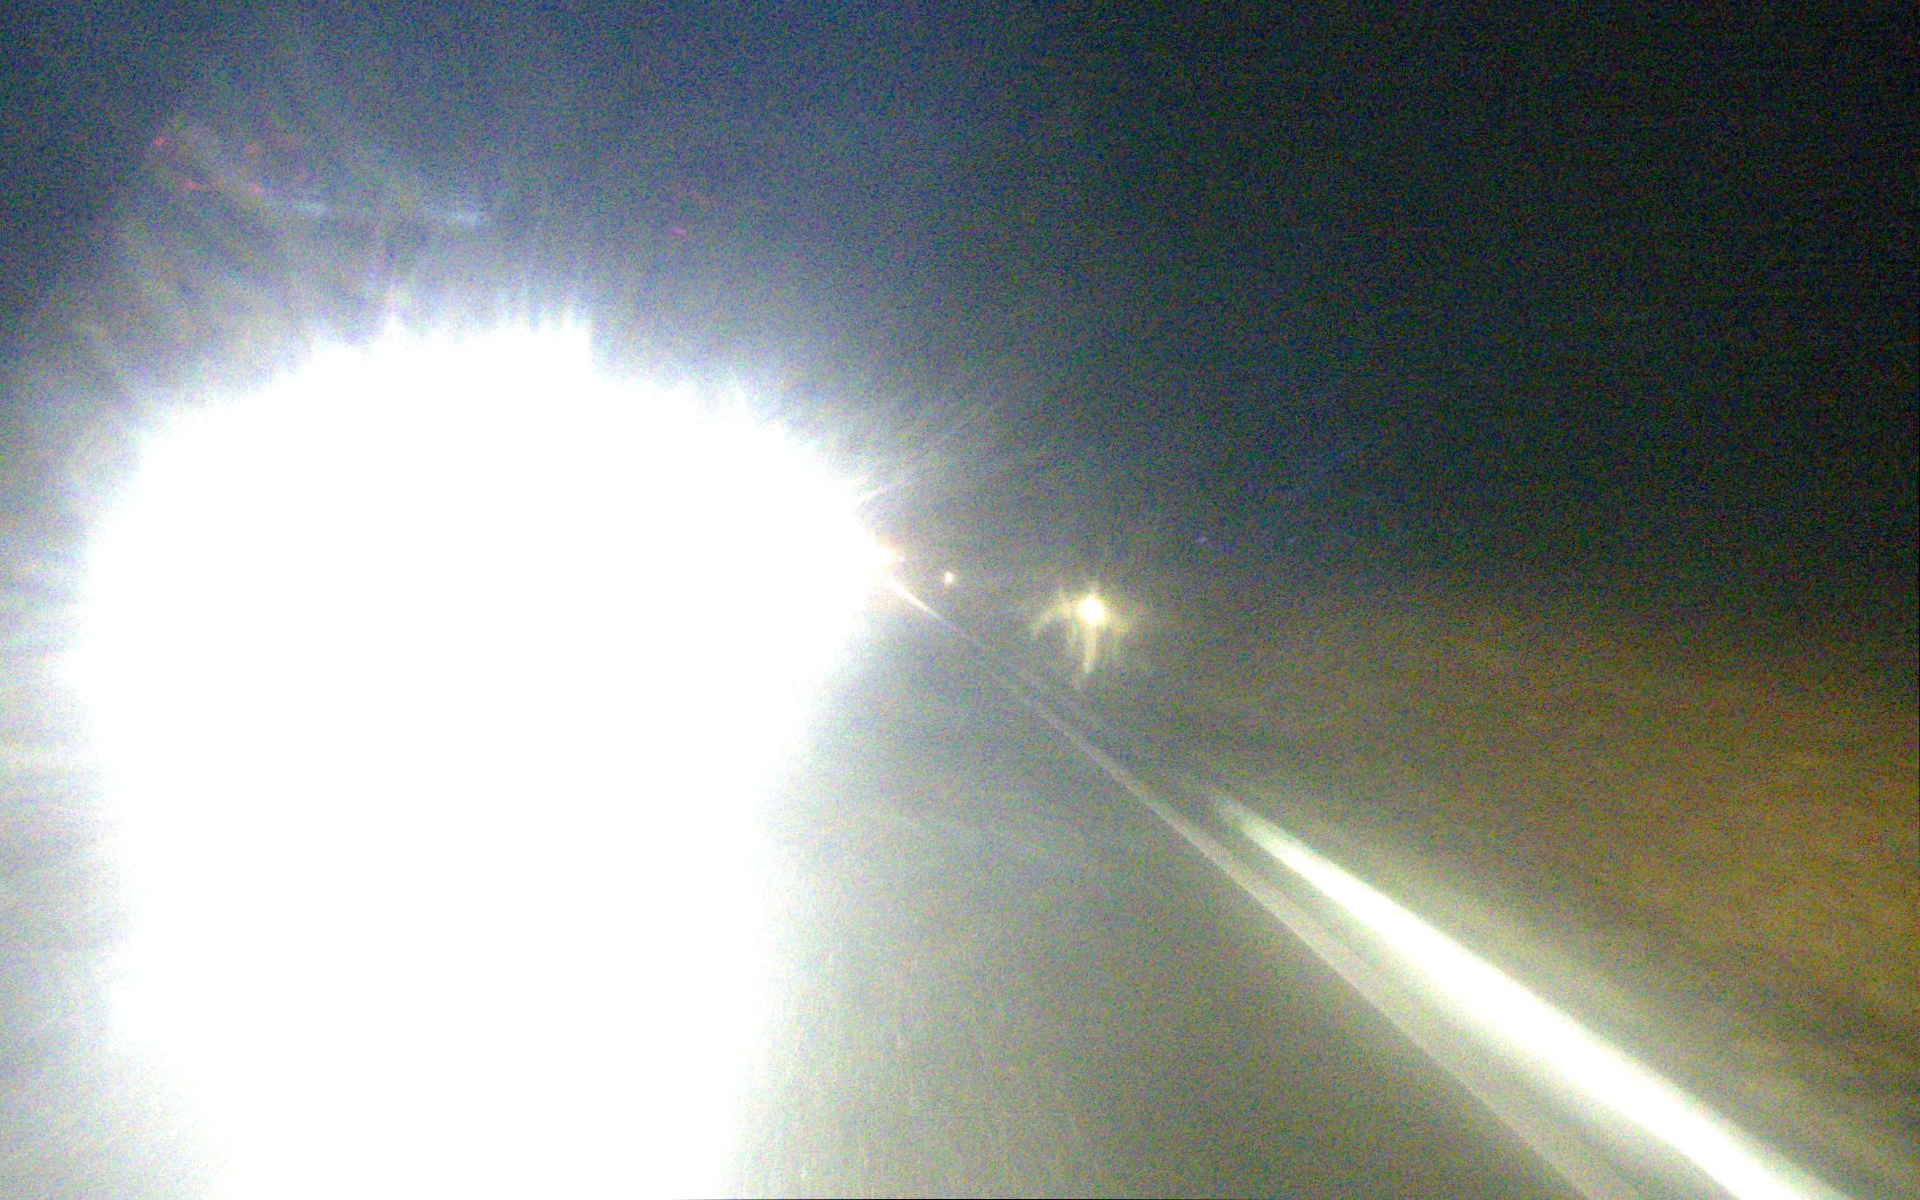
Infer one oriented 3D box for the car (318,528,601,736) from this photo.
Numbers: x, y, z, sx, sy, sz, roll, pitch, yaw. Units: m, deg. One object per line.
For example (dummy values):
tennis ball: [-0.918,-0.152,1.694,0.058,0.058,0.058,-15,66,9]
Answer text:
car: [-4.027,0.218,28.191,1.829,1.562,3.780,1,1,-1]
